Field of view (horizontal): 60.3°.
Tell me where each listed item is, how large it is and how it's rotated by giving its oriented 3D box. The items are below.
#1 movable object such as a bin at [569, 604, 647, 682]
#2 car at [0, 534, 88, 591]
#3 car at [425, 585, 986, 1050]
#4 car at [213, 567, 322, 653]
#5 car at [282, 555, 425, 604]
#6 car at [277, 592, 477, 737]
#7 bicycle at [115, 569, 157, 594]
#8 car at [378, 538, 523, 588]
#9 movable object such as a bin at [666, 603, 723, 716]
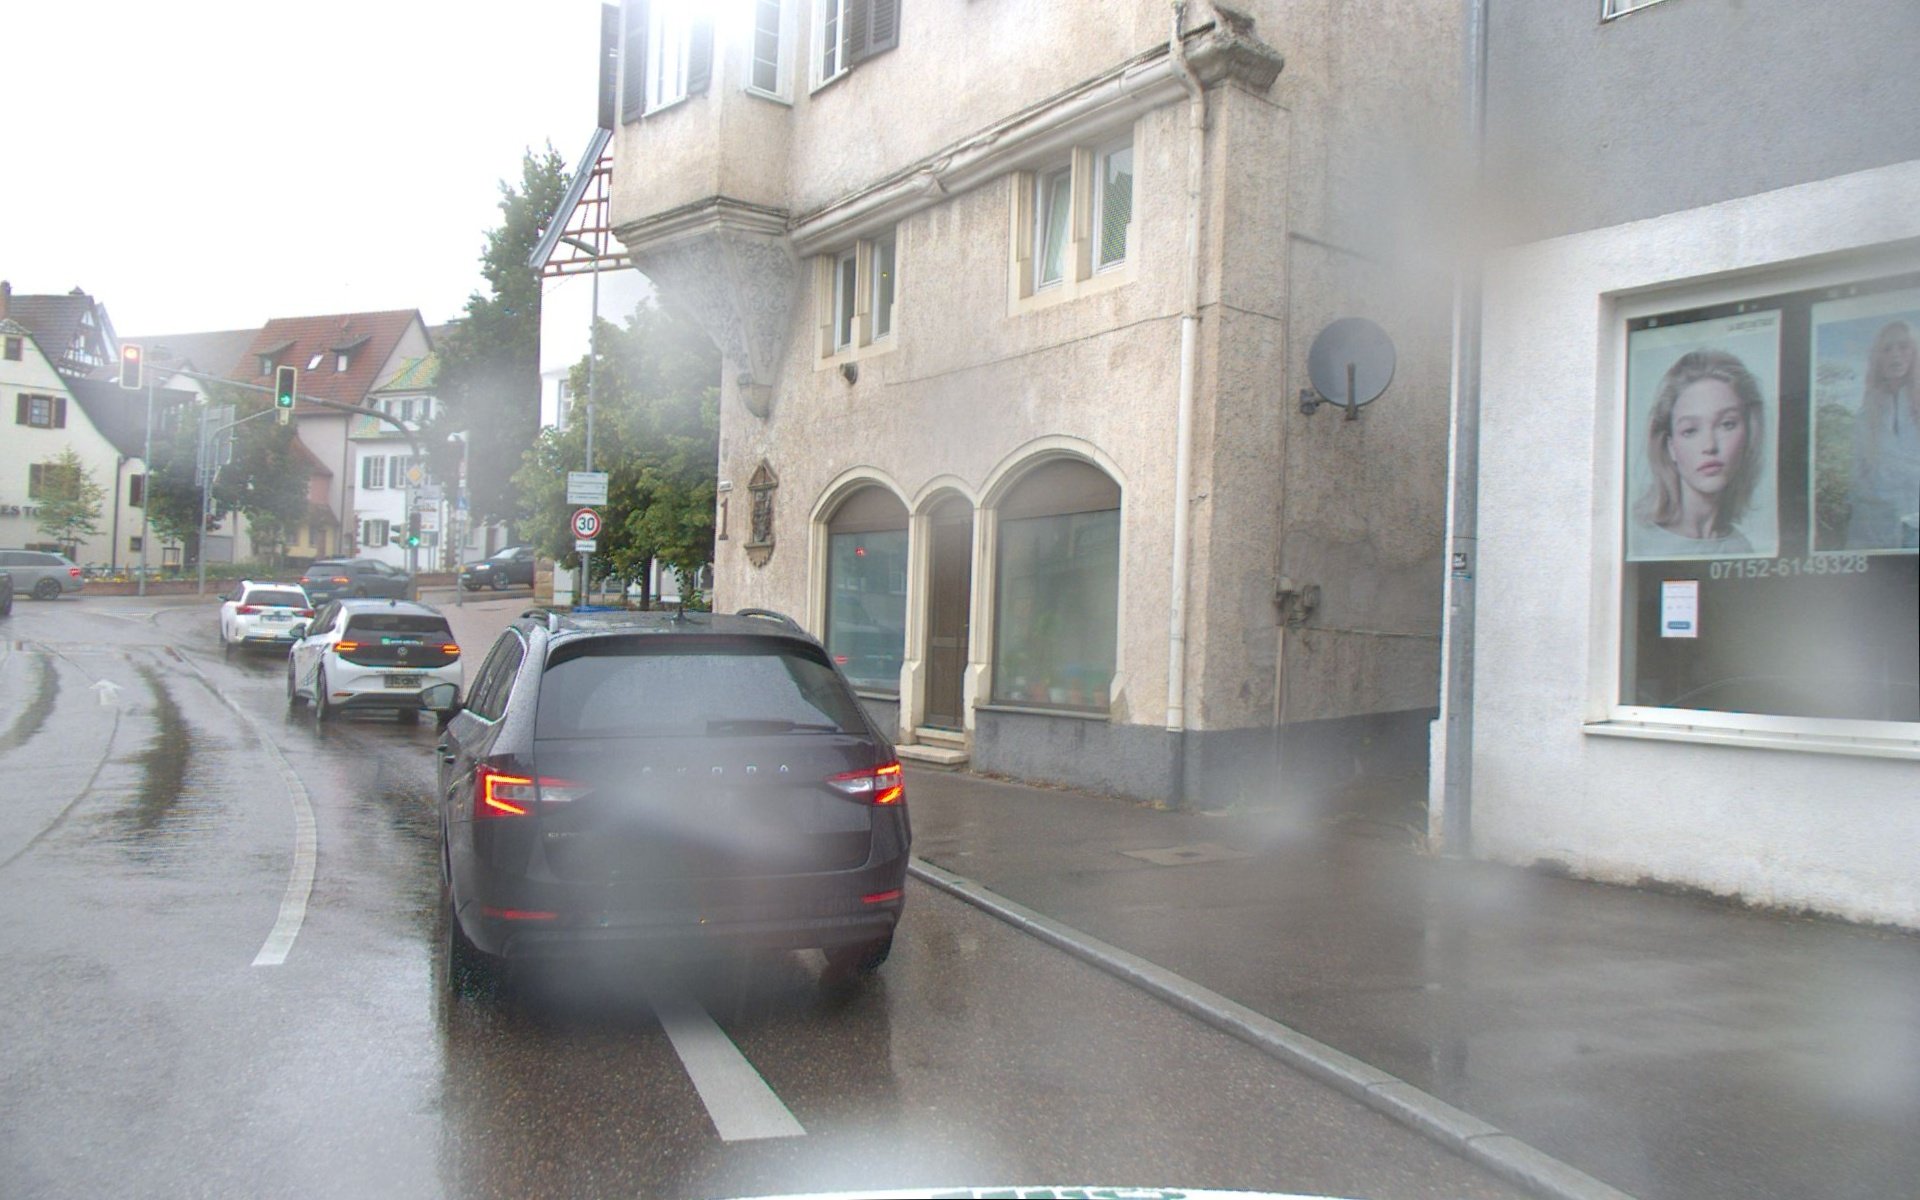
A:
[{"bbox_3d":[-6.269,0.758,29.424,1.138,1.336,1.178,2,-1,-22],"label":"movable object such as a bin"},{"bbox_3d":[-28.810,-1.155,49.523,4.442,1.618,1.969,1,1,-43],"label":"car"},{"bbox_3d":[-1.467,0.746,7.624,1.858,1.473,4.334,2,-1,-18],"label":"car"},{"bbox_3d":[-14.718,0.172,35.024,1.862,1.623,4.290,1,1,-26],"label":"car"},{"bbox_3d":[-17.747,-0.607,48.608,1.951,1.324,4.003,2,1,16],"label":"car"},{"bbox_3d":[-7.955,0.776,22.359,1.837,1.498,3.961,-3,4,-30],"label":"car"},{"bbox_3d":[-32.271,-0.708,64.790,0.384,0.927,1.467,5,2,29],"label":"bicycle"},{"bbox_3d":[-18.343,-1.320,59.679,4.709,1.616,1.802,1,1,-43],"label":"car"},{"bbox_3d":[-3.580,0.788,22.294,0.632,1.467,0.411,3,2,39],"label":"movable object such as a bin"}]
